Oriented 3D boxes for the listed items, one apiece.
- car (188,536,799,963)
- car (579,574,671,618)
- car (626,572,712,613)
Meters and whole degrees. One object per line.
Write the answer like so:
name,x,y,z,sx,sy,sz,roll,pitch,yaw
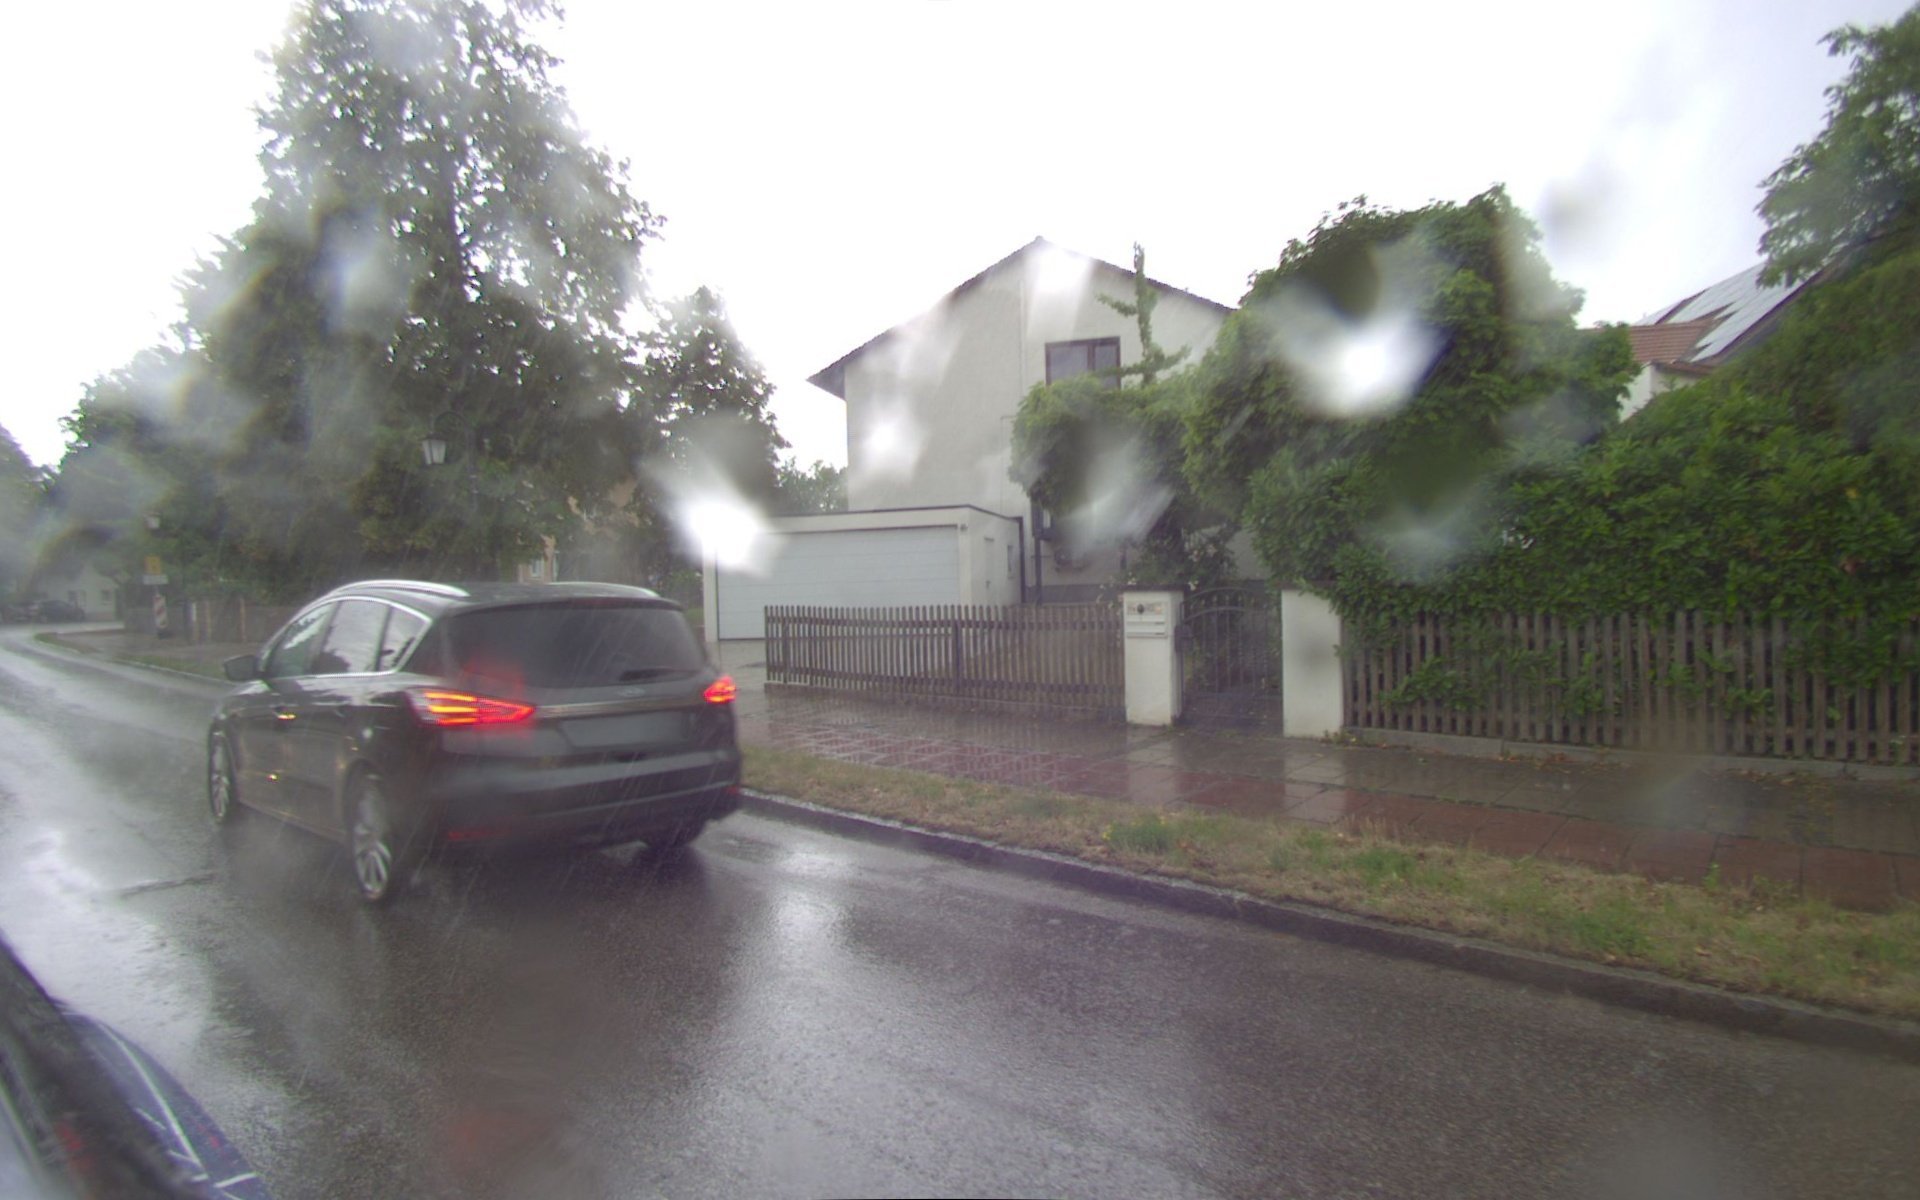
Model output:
car,-3.091,0.636,6.277,4.189,1.757,1.902,-1,-1,41
car,-15.942,-0.198,48.247,3.615,1.815,1.838,-3,2,9
car,-14.609,-0.389,50.905,3.615,1.815,1.838,-3,2,9
